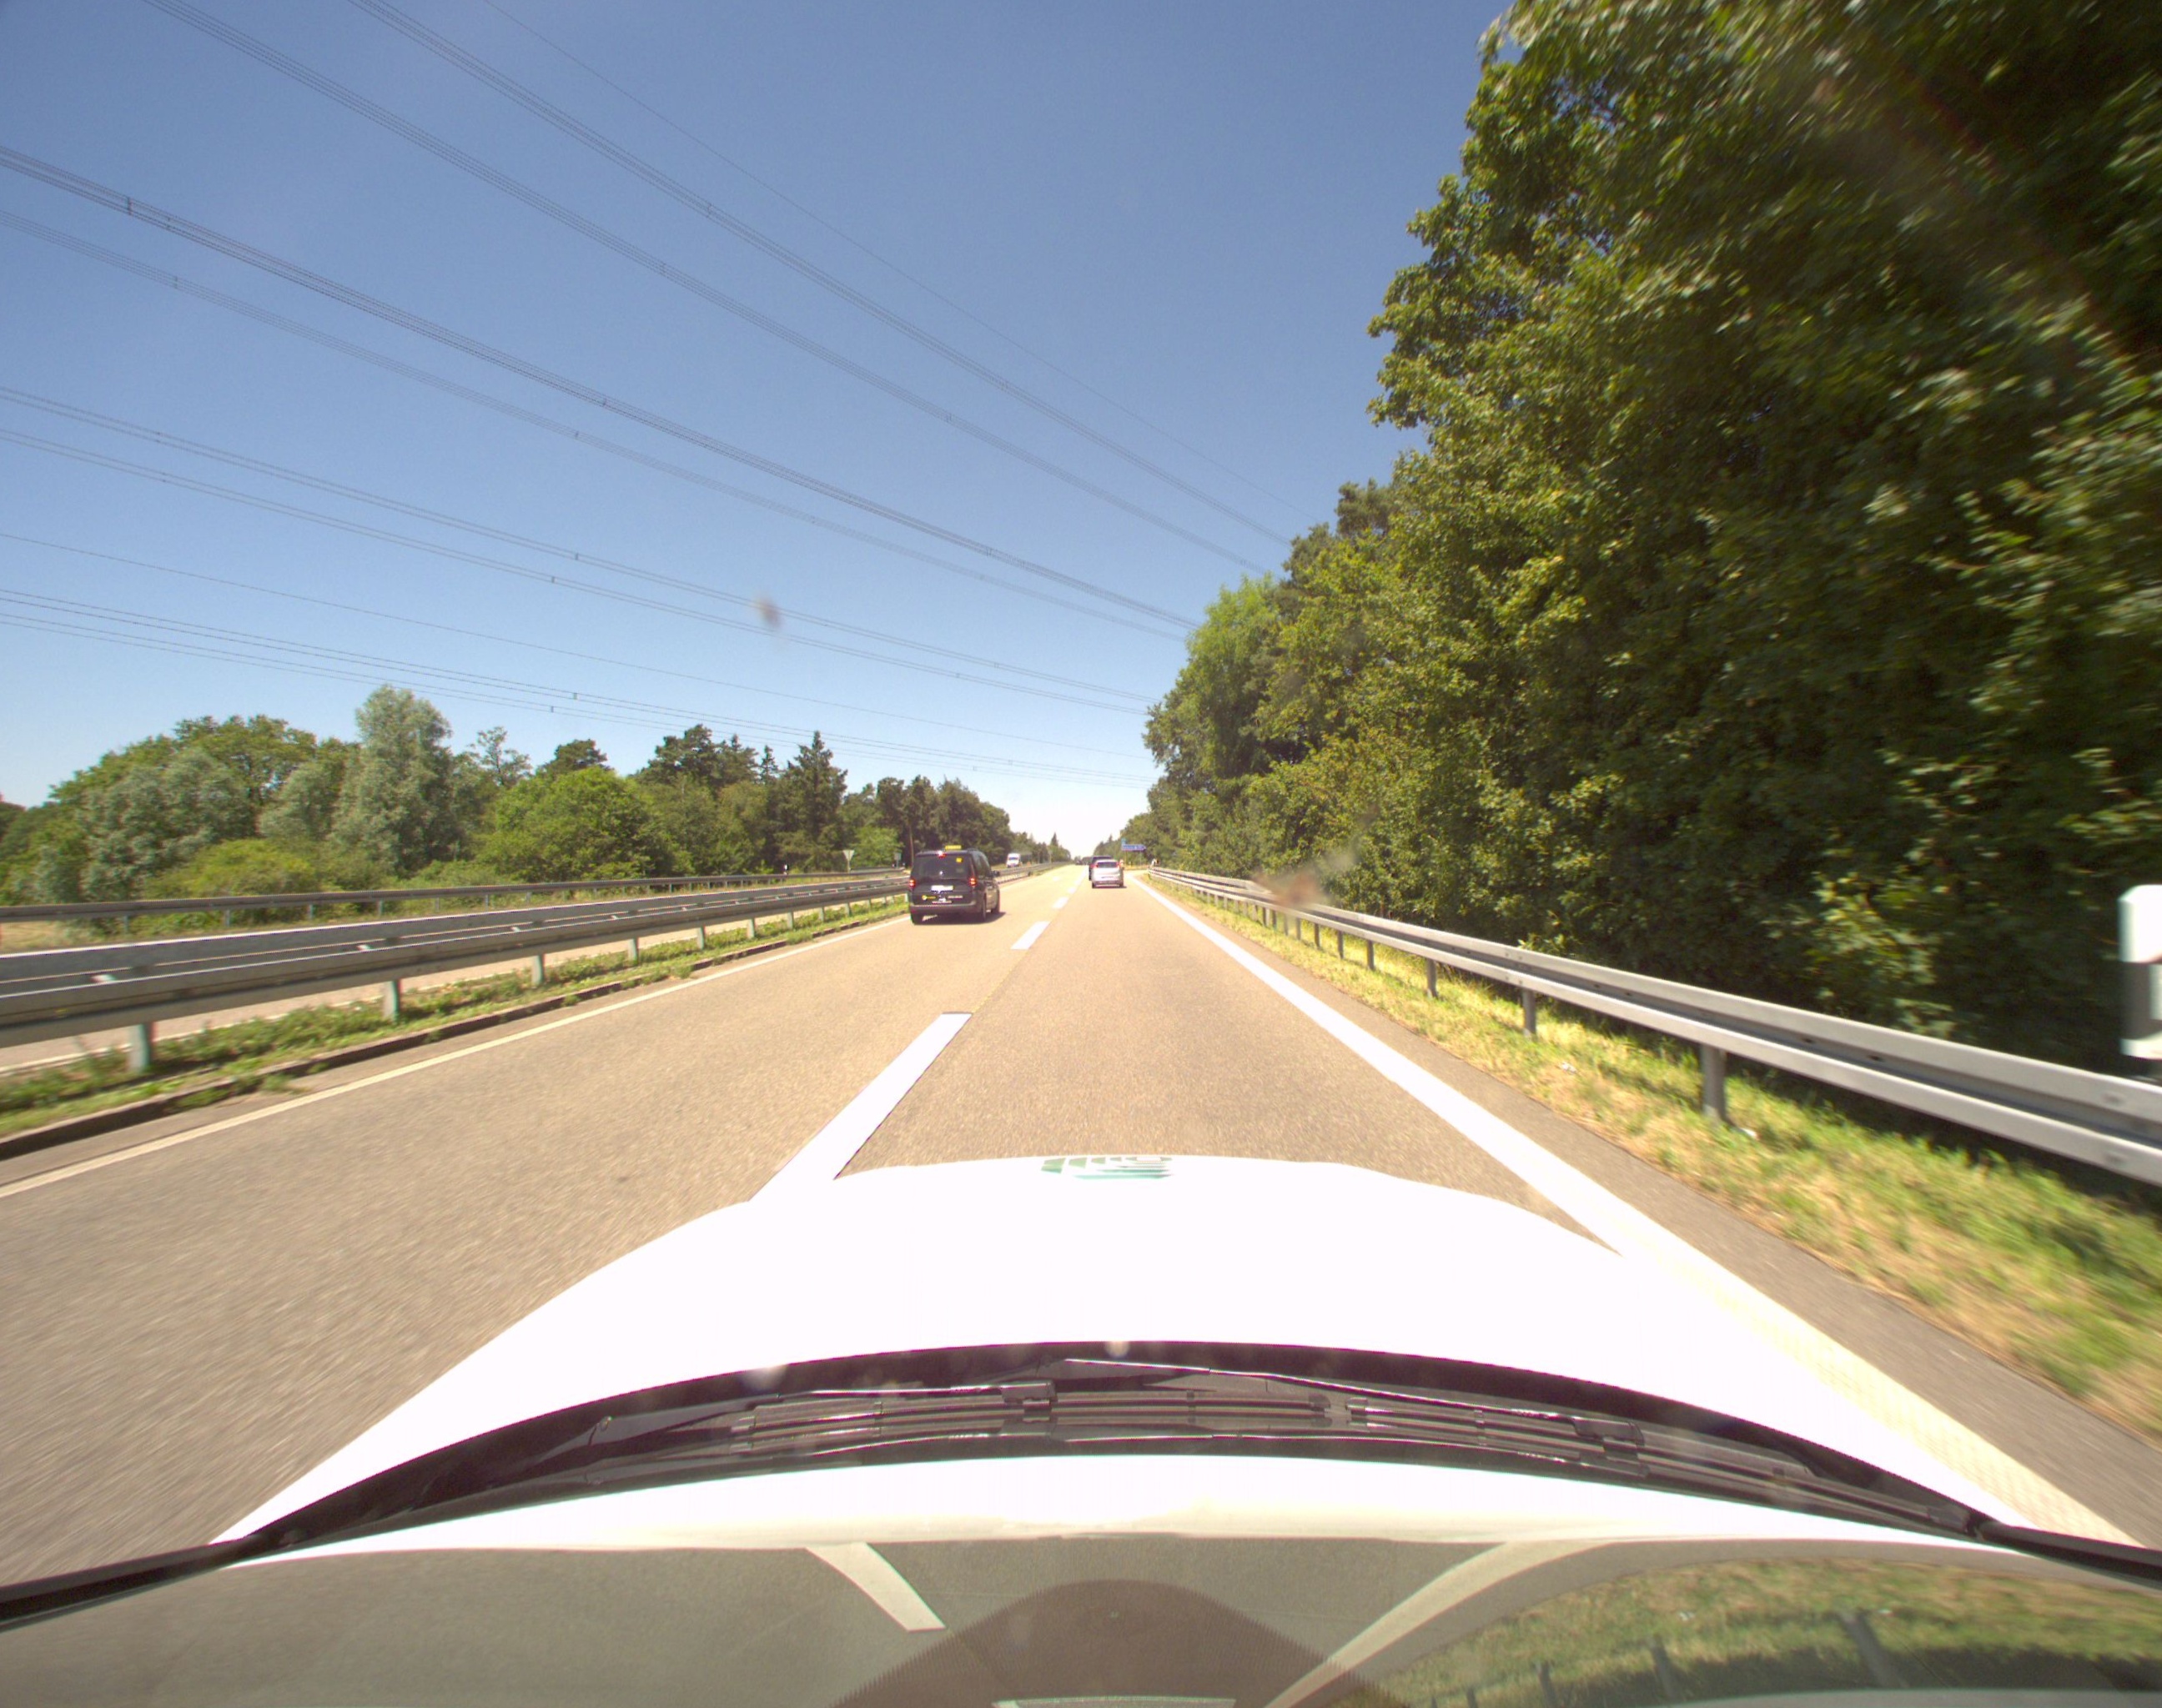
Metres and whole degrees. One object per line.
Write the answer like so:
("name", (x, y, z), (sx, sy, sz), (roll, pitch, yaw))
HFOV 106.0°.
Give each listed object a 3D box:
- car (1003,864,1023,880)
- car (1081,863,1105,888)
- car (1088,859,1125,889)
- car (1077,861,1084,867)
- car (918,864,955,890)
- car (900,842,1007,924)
("car", (-11.920, 3.149, 143.181), (2.515, 2.618, 7.187), (-3, -1, 1))
("car", (0.866, 1.511, 57.641), (1.634, 1.654, 3.575), (1, -1, 2))
("car", (1.295, 1.054, 42.934), (1.636, 1.468, 3.415), (1, -1, -3))
("car", (-0.061, 2.729, 218.412), (1.706, 1.471, 3.574), (1, -1, 1))
("car", (-12.099, 1.893, 68.325), (1.884, 1.992, 5.535), (-1, -1, 2))
("car", (-3.237, 0.727, 21.877), (1.847, 1.887, 5.574), (-1, -1, 1))
